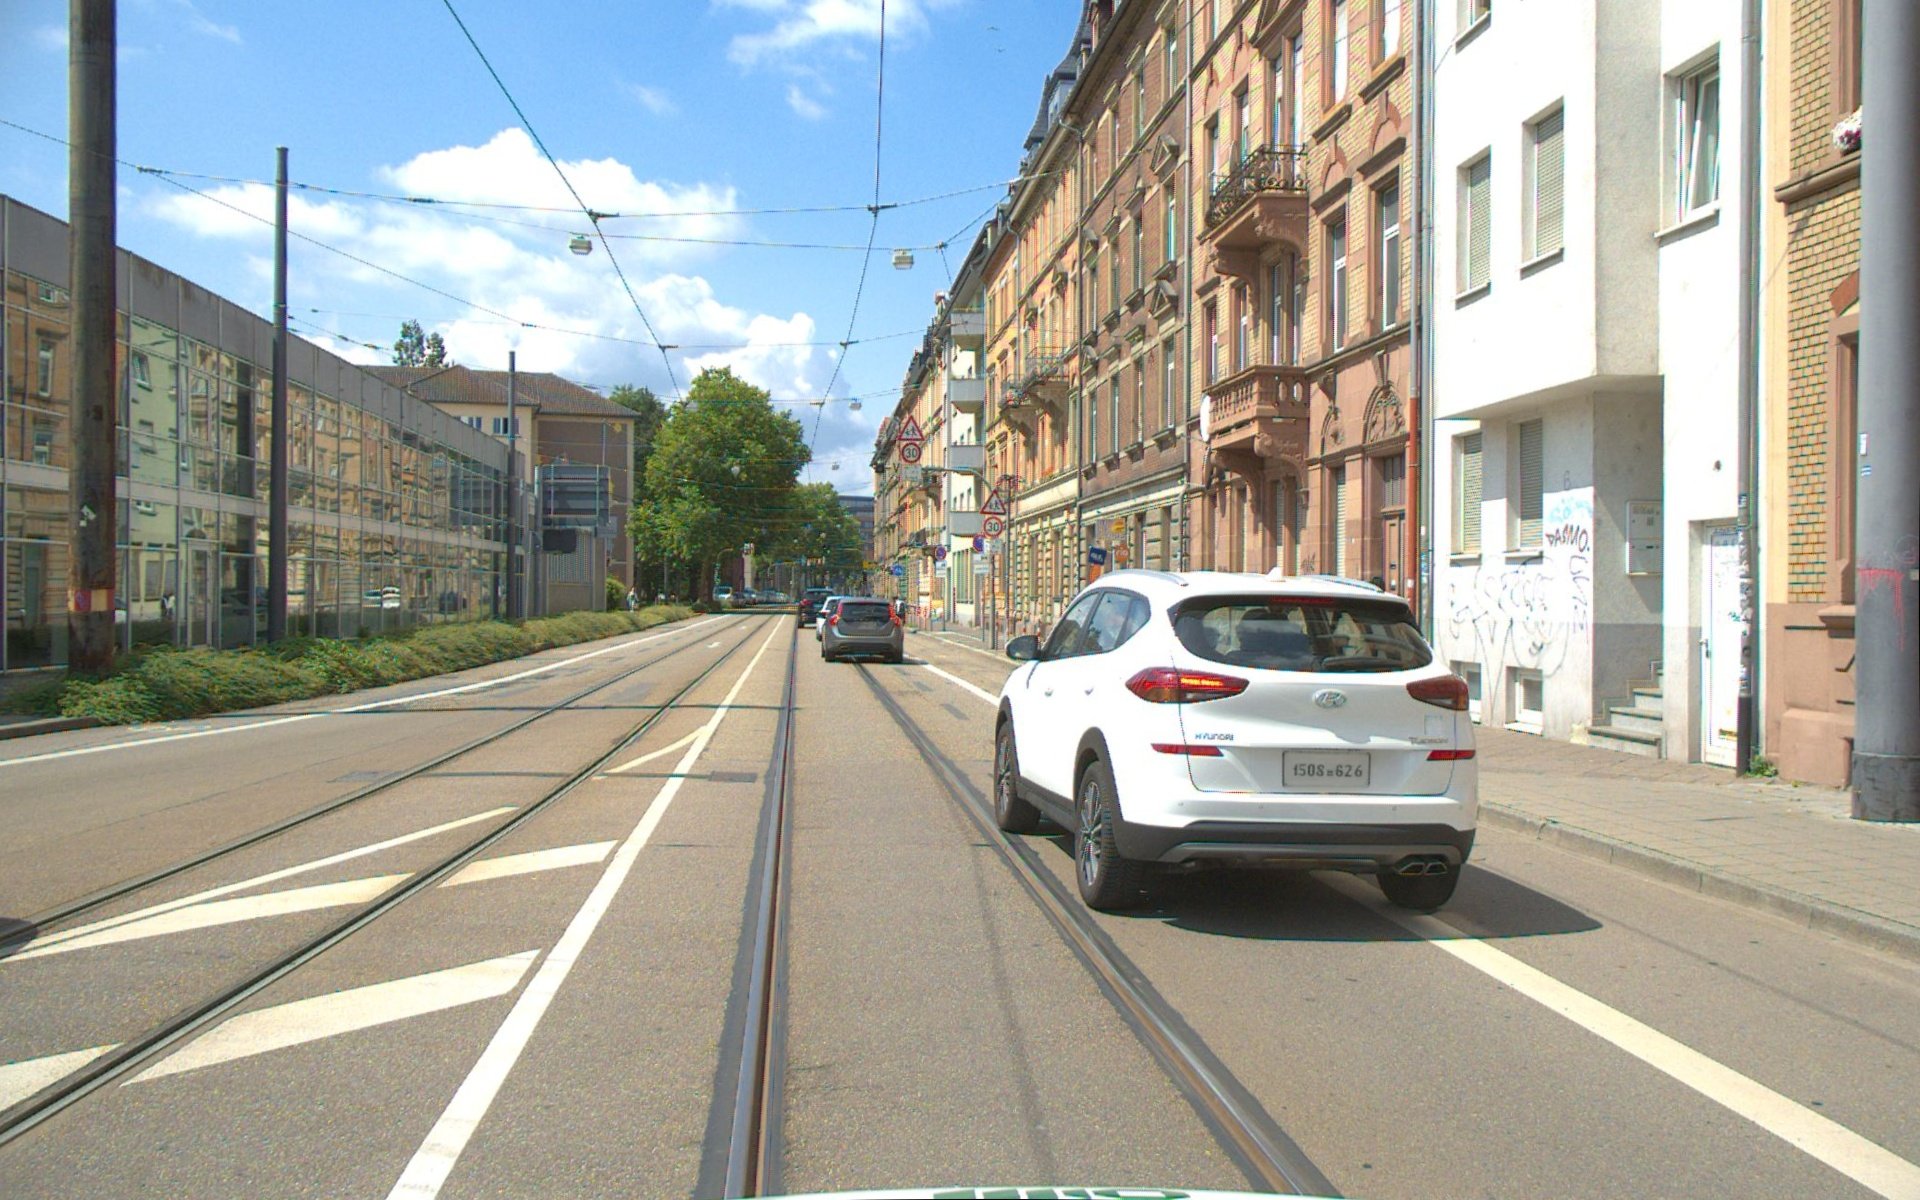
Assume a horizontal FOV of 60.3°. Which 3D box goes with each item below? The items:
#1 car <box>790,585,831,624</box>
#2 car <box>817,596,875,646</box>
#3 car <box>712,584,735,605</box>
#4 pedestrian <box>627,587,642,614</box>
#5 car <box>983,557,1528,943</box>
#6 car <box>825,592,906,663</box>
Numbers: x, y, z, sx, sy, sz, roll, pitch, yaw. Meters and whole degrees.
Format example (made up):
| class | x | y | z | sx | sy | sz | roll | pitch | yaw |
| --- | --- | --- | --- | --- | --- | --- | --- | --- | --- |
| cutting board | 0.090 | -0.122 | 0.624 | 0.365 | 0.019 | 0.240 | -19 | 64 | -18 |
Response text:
| class | x | y | z | sx | sy | sz | roll | pitch | yaw |
| --- | --- | --- | --- | --- | --- | --- | --- | --- | --- |
| car | -6.769 | 0.188 | 74.618 | 1.779 | 1.691 | 4.080 | 1 | 0 | -6 |
| car | -3.777 | 0.683 | 54.526 | 1.779 | 1.551 | 3.950 | -1 | 0 | -6 |
| car | -22.326 | -0.521 | 156.174 | 1.912 | 1.928 | 4.560 | 1 | 0 | -6 |
| pedestrian | -22.479 | 0.029 | 114.308 | 0.863 | 1.898 | 1.080 | -1 | 0 | -5 |
| car | 1.349 | 0.637 | 9.324 | 1.817 | 1.662 | 4.173 | 1 | 0 | -8 |
| car | -2.179 | 0.598 | 38.648 | 1.778 | 1.551 | 4.083 | 0 | 0 | -3 |
